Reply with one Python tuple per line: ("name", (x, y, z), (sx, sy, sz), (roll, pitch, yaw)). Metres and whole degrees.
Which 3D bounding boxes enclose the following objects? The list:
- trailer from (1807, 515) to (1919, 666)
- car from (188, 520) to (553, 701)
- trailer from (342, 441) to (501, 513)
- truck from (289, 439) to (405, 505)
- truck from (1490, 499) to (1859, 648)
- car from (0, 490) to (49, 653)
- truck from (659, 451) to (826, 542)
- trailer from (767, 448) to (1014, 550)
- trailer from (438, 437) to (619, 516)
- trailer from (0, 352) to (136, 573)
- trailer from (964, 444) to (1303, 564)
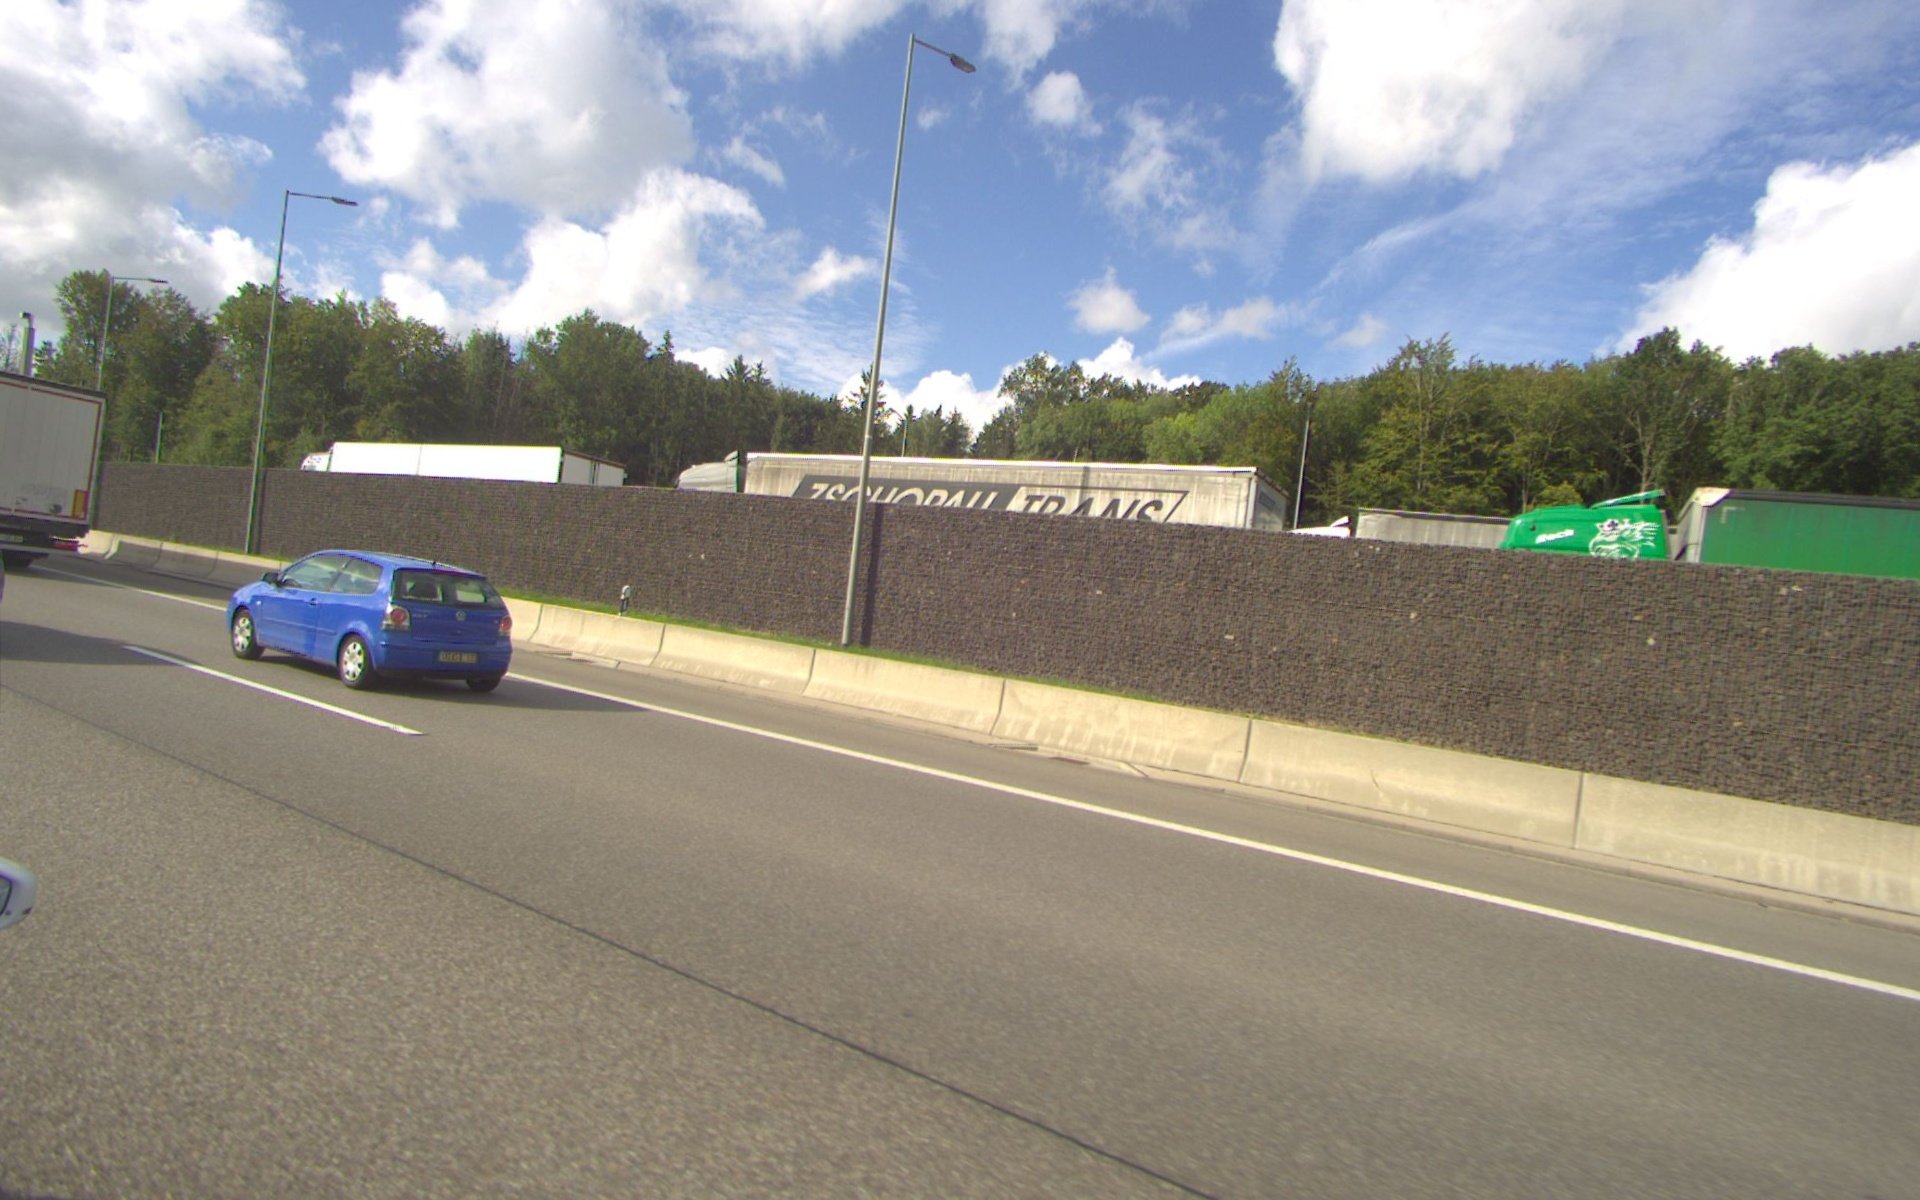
("trailer", (16.022, 0.032, 14.325), (5.681, 2.036, 1.997), (5, -3, 31))
("car", (-6.961, 0.098, 11.782), (4.229, 1.529, 1.718), (7, -1, 30))
("trailer", (-19.542, -4.473, 36.430), (6.131, 2.038, 2.133), (7, 0, 31))
("truck", (-23.809, -4.983, 39.084), (3.933, 2.038, 2.149), (7, 0, 31))
("truck", (11.771, -0.474, 17.008), (4.704, 2.036, 2.049), (4, -3, 32))
("car", (-11.525, -0.580, 10.325), (4.568, 1.559, 1.927), (7, -1, 32))
("truck", (-6.013, -2.845, 27.752), (4.029, 2.036, 2.049), (5, -3, 31))
("trailer", (-1.823, -2.519, 25.165), (5.907, 2.036, 2.049), (5, -3, 31))
("trailer", (-14.317, -4.108, 33.236), (6.216, 2.038, 2.133), (7, 0, 31))
("trailer", (-24.536, -3.225, 23.903), (13.662, 4.081, 3.044), (4, -3, 32))
("trailer", (3.618, -2.093, 21.843), (6.850, 2.036, 2.055), (5, -3, 31))
